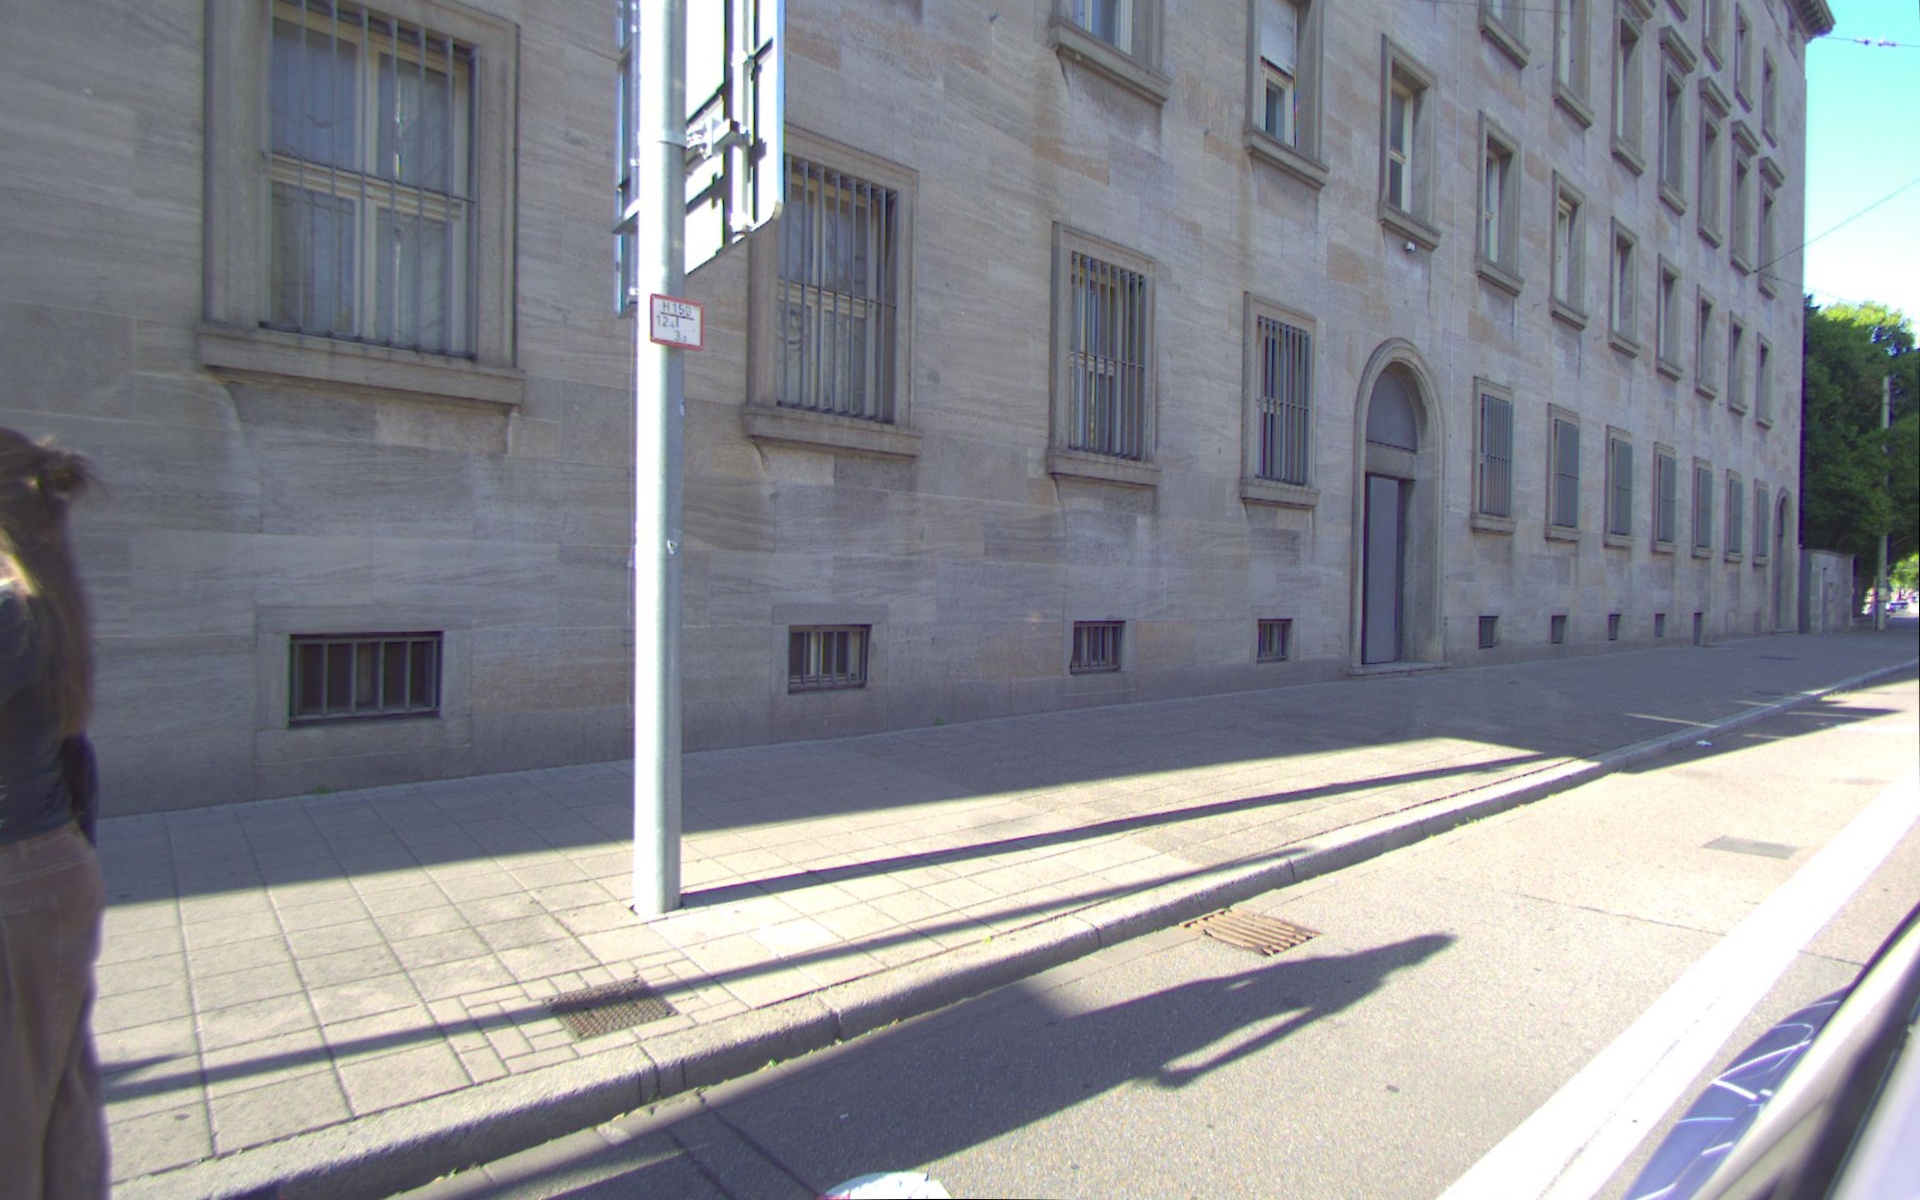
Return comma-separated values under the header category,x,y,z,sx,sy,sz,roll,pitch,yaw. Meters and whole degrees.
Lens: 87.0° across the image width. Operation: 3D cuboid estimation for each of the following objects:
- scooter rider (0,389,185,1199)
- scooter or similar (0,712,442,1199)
category,x,y,z,sx,sy,sz,roll,pitch,yaw
scooter rider,-1.733,0.520,1.763,0.547,1.692,0.730,0,1,-42
scooter or similar,-1.682,0.872,1.752,1.305,1.200,0.535,0,1,-42
